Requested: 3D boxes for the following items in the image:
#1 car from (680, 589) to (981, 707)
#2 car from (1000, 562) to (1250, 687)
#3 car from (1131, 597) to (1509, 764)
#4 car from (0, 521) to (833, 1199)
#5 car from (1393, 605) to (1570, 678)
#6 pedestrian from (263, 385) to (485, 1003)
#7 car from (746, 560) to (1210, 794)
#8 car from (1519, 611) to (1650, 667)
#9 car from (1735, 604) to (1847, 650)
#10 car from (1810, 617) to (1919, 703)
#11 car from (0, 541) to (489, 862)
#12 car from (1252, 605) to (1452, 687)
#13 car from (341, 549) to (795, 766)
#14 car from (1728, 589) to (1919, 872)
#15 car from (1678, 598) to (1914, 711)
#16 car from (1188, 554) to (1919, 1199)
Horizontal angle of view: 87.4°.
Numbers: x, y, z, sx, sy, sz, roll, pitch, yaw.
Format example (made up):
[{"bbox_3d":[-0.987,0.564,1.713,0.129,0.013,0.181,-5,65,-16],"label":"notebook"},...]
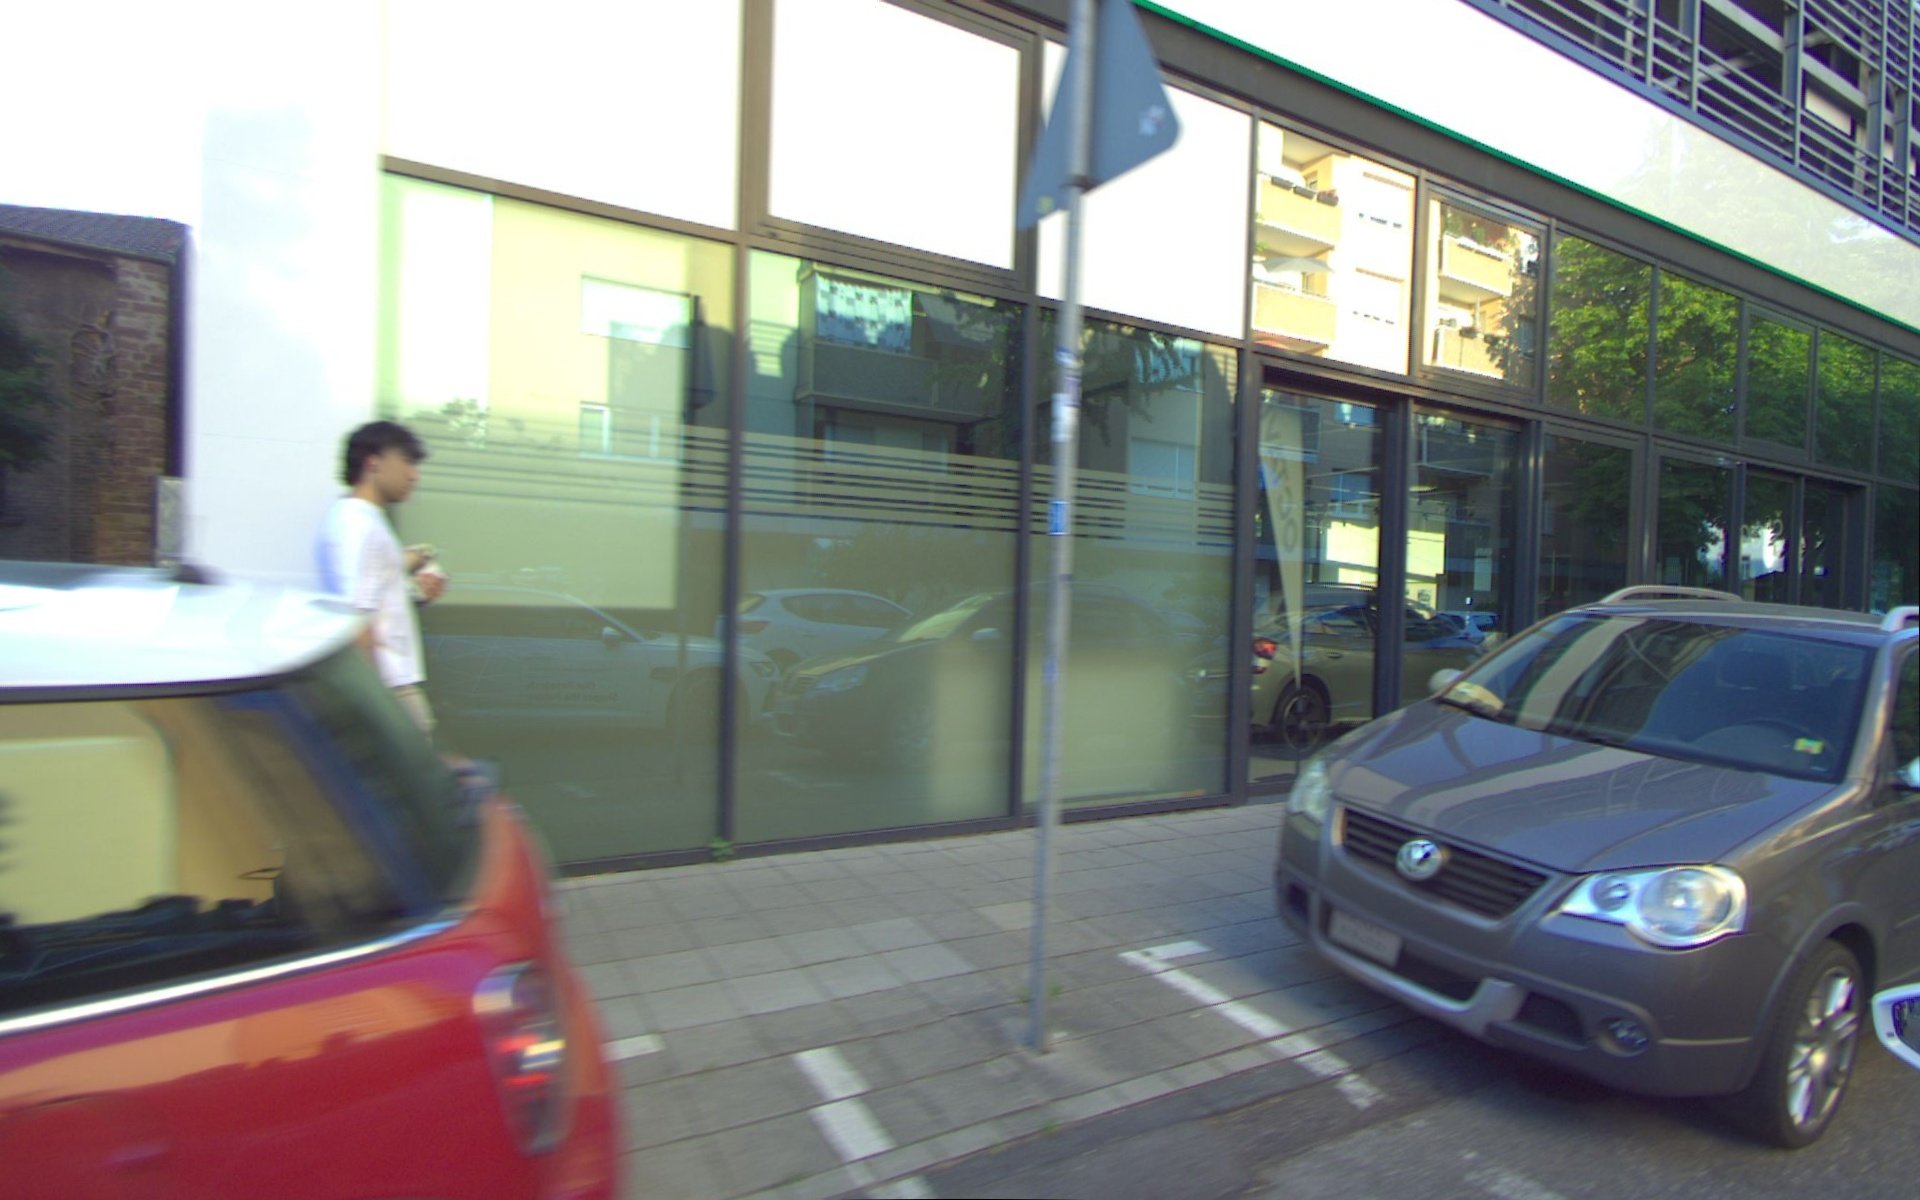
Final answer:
[{"bbox_3d":[-1.794,0.614,14.189,3.874,1.453,1.689,1,1,-31],"label":"car"},{"bbox_3d":[2.750,0.370,16.514,3.874,1.840,1.689,1,1,-31],"label":"car"},{"bbox_3d":[4.055,0.778,11.134,4.143,1.535,1.689,1,1,-31],"label":"car"},{"bbox_3d":[-2.277,0.626,1.071,3.886,1.430,1.651,1,6,-34],"label":"car"},{"bbox_3d":[11.554,0.887,22.223,3.874,1.453,1.689,1,1,-31],"label":"car"},{"bbox_3d":[-2.046,0.290,3.554,0.612,1.903,0.718,0,1,-29],"label":"pedestrian"},{"bbox_3d":[0.227,0.563,8.854,3.831,1.672,1.585,1,1,-31],"label":"car"},{"bbox_3d":[15.534,0.937,24.966,3.176,1.272,1.413,0,1,-30],"label":"car"},{"bbox_3d":[24.516,0.768,29.603,3.484,1.272,1.413,0,1,-30],"label":"car"},{"bbox_3d":[18.479,1.111,19.656,3.738,1.493,1.689,1,1,-31],"label":"car"},{"bbox_3d":[-4.818,0.478,5.612,3.831,1.543,1.585,1,1,-31],"label":"car"},{"bbox_3d":[7.821,0.863,19.975,3.874,1.453,1.689,1,1,-31],"label":"car"},{"bbox_3d":[-3.608,0.458,9.441,3.695,1.681,1.689,1,1,-31],"label":"car"},{"bbox_3d":[6.819,0.767,6.339,3.961,1.422,1.719,1,6,-32],"label":"car"},{"bbox_3d":[14.145,0.849,16.936,4.358,1.681,1.689,1,1,-31],"label":"car"},{"bbox_3d":[2.980,0.711,4.016,3.838,1.518,1.653,1,6,-30],"label":"car"}]
